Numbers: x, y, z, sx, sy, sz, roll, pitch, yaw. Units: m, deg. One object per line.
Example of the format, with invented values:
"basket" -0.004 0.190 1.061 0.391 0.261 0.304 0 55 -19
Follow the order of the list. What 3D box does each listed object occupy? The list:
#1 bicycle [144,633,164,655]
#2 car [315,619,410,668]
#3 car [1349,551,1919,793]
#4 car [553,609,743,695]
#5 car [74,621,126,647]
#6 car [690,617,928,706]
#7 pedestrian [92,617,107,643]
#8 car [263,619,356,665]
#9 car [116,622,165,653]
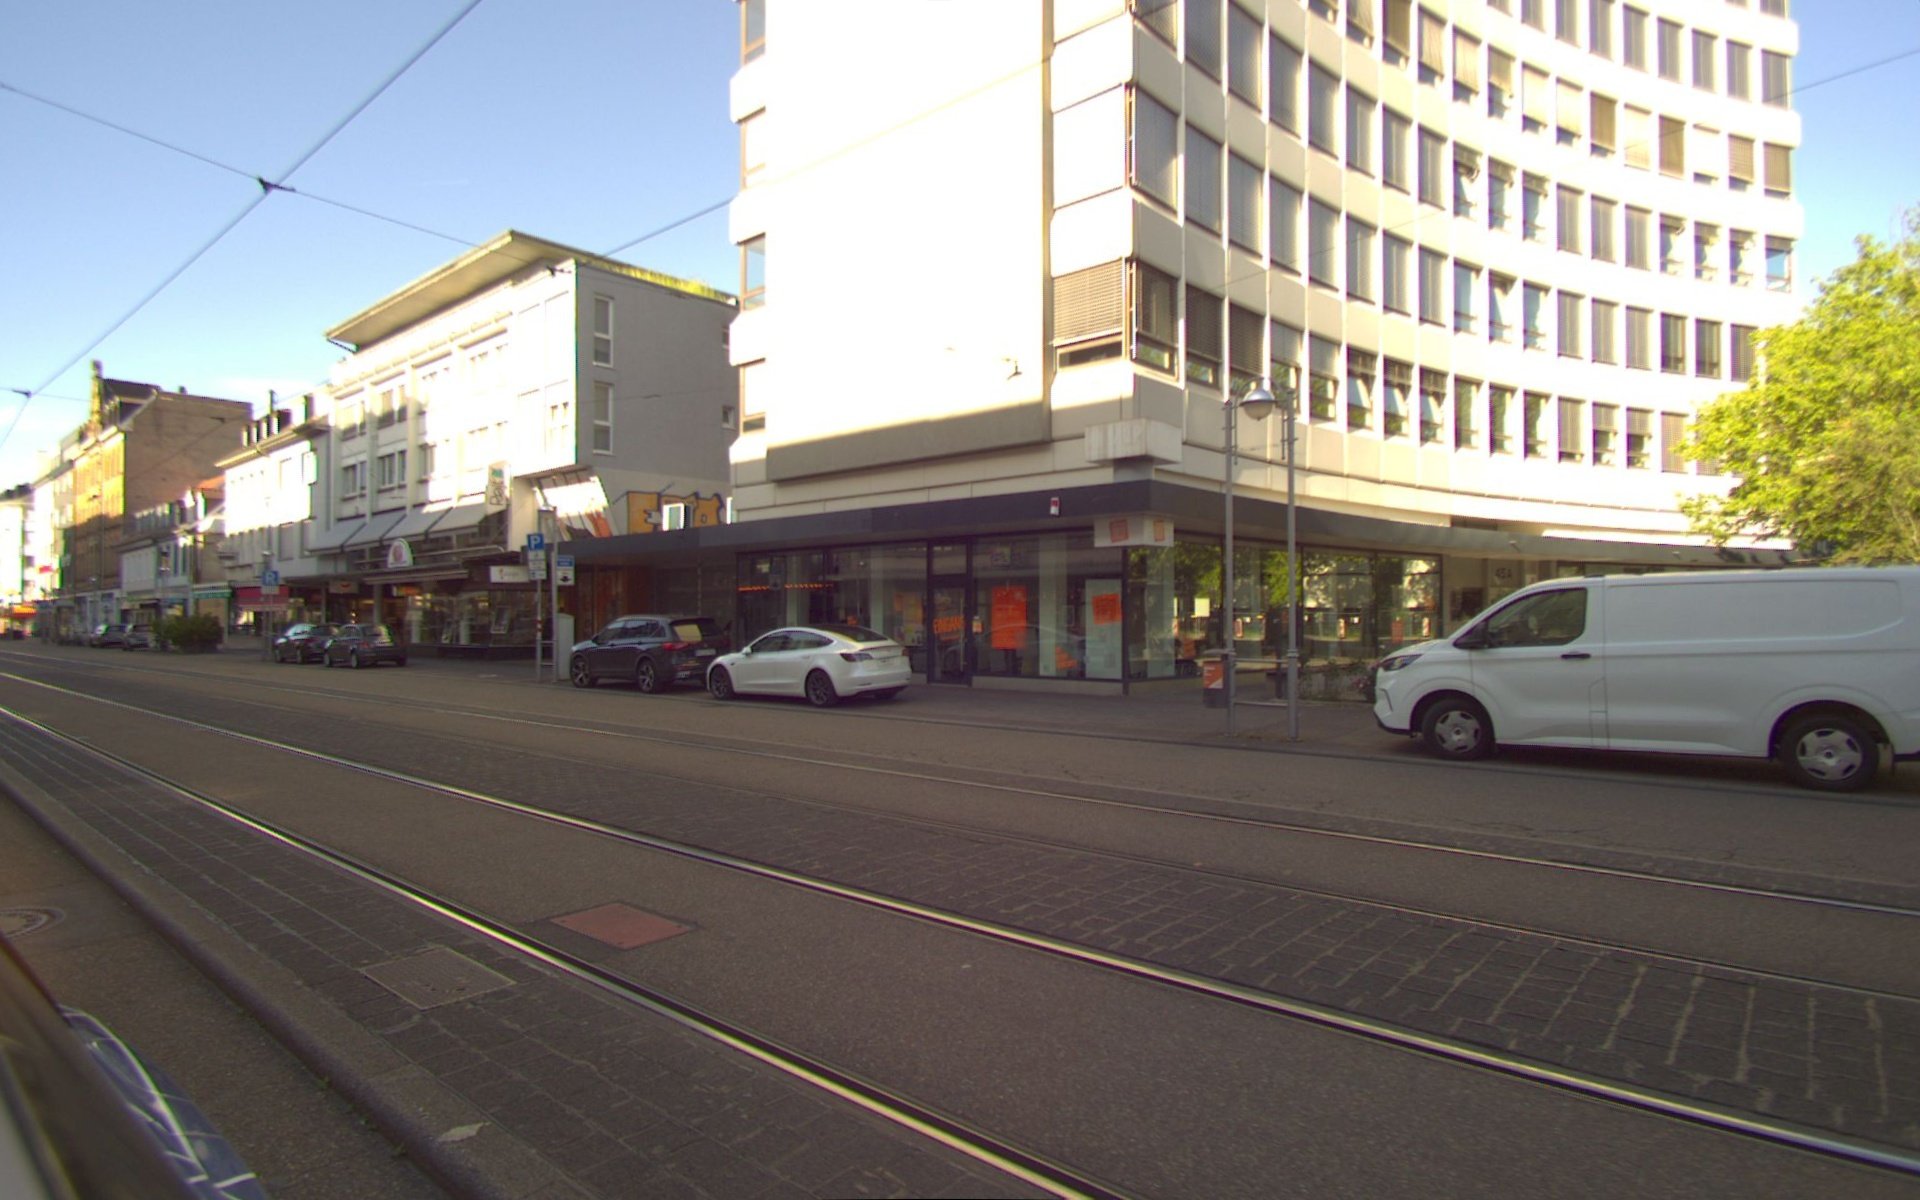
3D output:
"bicycle" -41.475 2.258 52.073 1.715 1.098 0.513 -1 1 42
"car" -20.319 1.434 34.373 3.585 1.535 1.585 -1 1 39
"car" 6.943 0.592 10.436 5.093 1.990 1.973 -1 1 41
"car" -7.117 1.083 22.851 4.653 1.691 1.958 -1 1 42
"car" -53.696 2.095 63.155 4.760 1.525 1.798 -1 0 41
"car" -2.961 1.076 19.252 4.652 1.431 1.869 -1 1 40
"pedestrian" -59.967 2.074 70.507 0.580 1.775 0.651 -1 1 33
"car" -24.803 1.545 38.522 4.850 1.535 1.719 -1 1 42
"car" -46.497 2.098 57.433 2.890 1.616 1.679 -1 0 41
